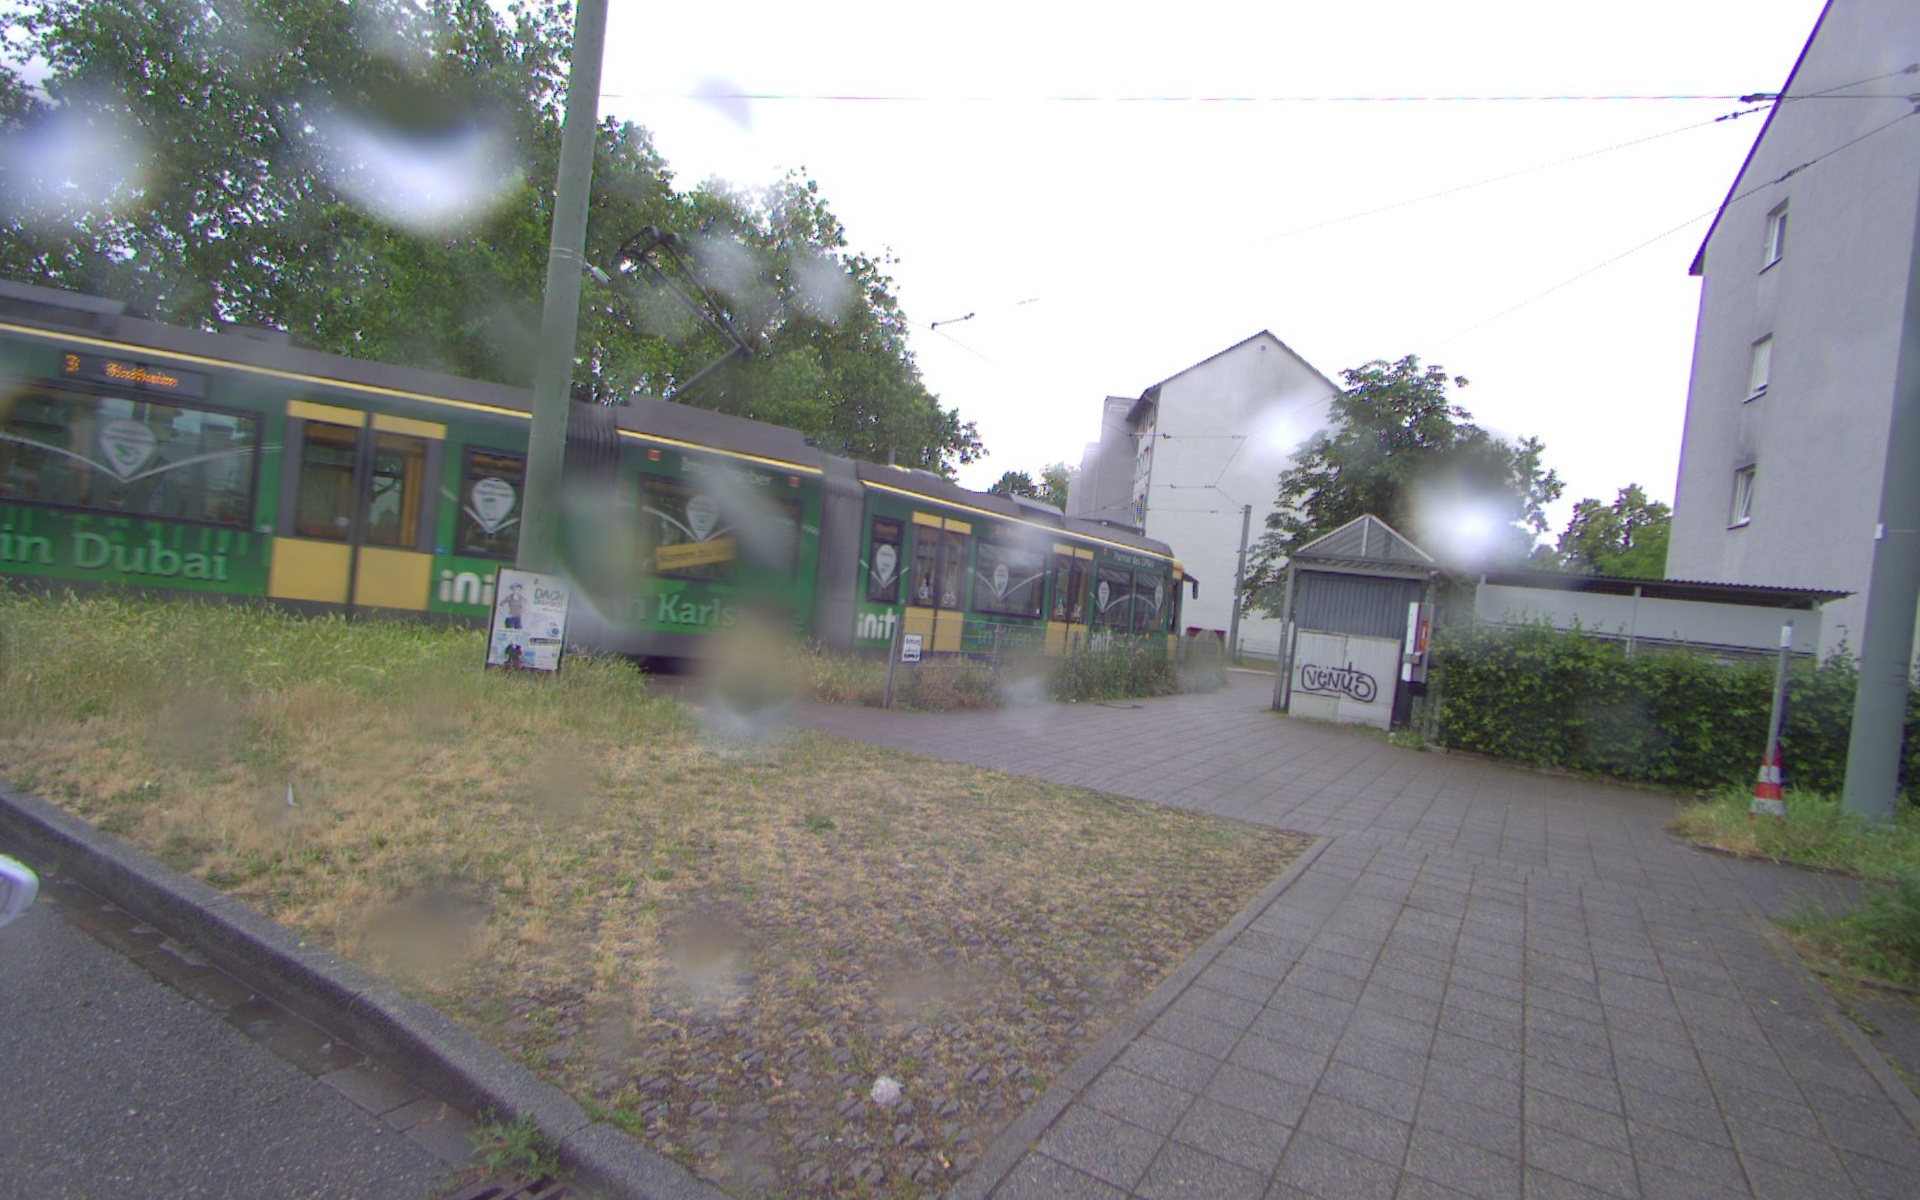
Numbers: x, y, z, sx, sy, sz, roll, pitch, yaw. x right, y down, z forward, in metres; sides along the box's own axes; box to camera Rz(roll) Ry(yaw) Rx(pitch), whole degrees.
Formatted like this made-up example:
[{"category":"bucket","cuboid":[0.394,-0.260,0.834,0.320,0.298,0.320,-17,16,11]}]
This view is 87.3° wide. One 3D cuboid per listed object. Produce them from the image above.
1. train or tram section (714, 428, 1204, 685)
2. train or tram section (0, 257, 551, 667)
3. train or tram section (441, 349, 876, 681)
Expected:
[{"category":"train or tram section","cuboid":[0.962,-0.315,19.962,2.727,3.597,12.161,7,0,36]},{"category":"train or tram section","cuboid":[-11.331,-1.712,10.307,12.958,3.598,2.754,6,1,-24]},{"category":"train or tram section","cuboid":[-4.130,-0.923,14.000,4.941,3.598,2.743,5,1,-36]}]
